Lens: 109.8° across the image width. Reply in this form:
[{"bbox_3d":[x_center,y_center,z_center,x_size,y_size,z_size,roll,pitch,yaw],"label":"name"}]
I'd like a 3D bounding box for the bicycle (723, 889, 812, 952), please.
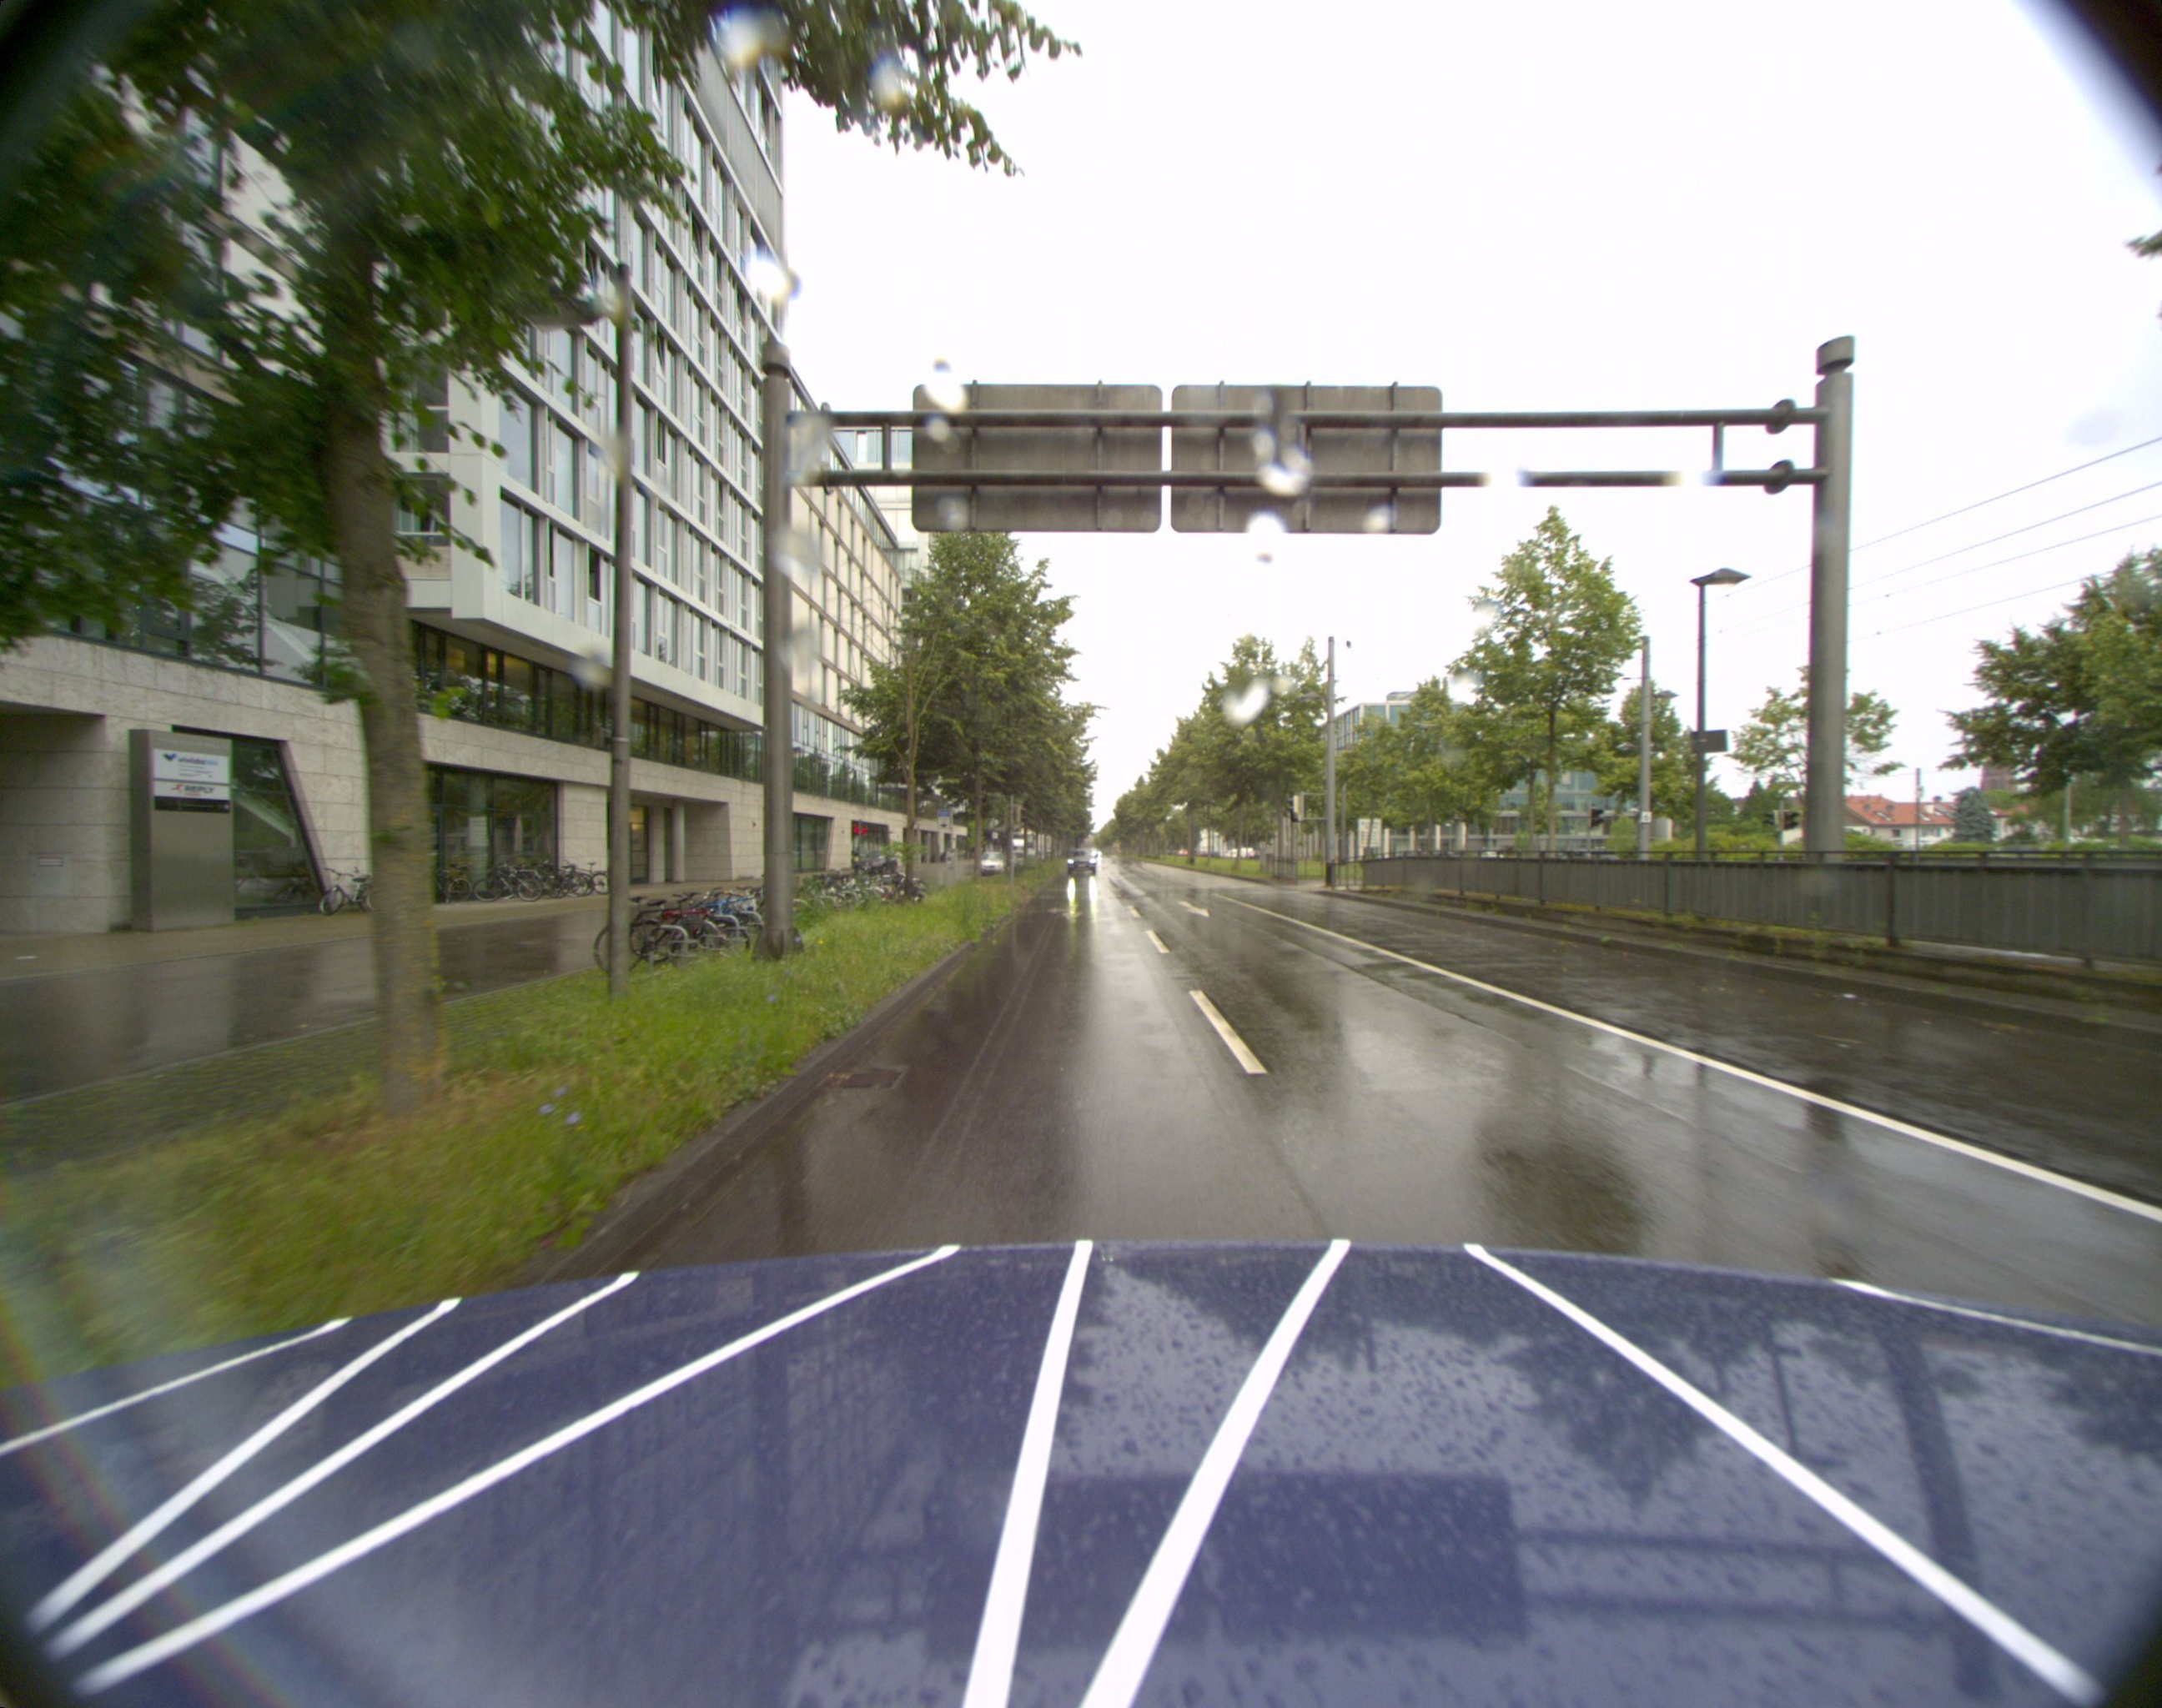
[{"bbox_3d":[-5.034,1.059,12.217,1.292,0.983,0.275,0,1,0],"label":"bicycle"}]

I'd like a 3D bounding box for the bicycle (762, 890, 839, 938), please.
[{"bbox_3d":[-5.115,1.093,13.879,1.292,0.844,0.275,0,1,0],"label":"bicycle"}]

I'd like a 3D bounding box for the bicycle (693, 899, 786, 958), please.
[{"bbox_3d":[-5.186,1.130,11.561,1.292,0.844,0.275,1,1,0],"label":"bicycle"}]

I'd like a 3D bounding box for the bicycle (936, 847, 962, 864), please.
[{"bbox_3d":[-14.337,0.153,82.486,2.685,1.850,0.707,1,1,5],"label":"bicycle"}]

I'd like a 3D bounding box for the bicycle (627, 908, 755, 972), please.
[{"bbox_3d":[-5.401,1.188,10.544,1.599,0.844,0.311,0,1,0],"label":"bicycle"}]

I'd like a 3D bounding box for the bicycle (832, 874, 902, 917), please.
[{"bbox_3d":[-5.511,1.067,19.634,1.711,1.096,0.283,1,1,-6],"label":"bicycle"}]

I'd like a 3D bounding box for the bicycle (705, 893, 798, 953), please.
[{"bbox_3d":[-5.150,1.074,11.890,1.329,0.905,0.275,1,1,0],"label":"bicycle"}]

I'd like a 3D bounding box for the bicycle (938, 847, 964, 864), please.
[{"bbox_3d":[-14.269,0.145,83.231,2.685,1.850,0.707,1,1,5],"label":"bicycle"}]

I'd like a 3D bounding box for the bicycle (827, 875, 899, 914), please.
[{"bbox_3d":[-5.504,1.025,19.256,1.711,0.942,0.313,-1,2,-6],"label":"bicycle"}]

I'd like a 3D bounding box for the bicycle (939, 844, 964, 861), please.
[{"bbox_3d":[-14.310,-0.133,84.027,2.685,1.850,0.707,1,1,5],"label":"bicycle"}]

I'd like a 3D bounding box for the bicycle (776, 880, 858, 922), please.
[{"bbox_3d":[-5.580,0.991,16.104,1.619,0.844,0.275,-1,2,0],"label":"bicycle"}]

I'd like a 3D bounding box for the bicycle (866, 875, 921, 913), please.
[{"bbox_3d":[-5.229,1.118,21.182,1.441,1.012,0.349,0,1,7],"label":"bicycle"}]

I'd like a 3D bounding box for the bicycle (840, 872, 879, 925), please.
[{"bbox_3d":[-3.859,0.760,13.292,0.275,0.844,1.292,1,1,1],"label":"bicycle"}]

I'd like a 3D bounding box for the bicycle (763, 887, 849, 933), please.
[{"bbox_3d":[-5.280,1.071,14.607,1.526,0.844,0.277,0,1,0],"label":"bicycle"}]

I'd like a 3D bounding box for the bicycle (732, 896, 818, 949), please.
[{"bbox_3d":[-5.034,1.119,12.524,1.292,0.844,0.275,0,1,0],"label":"bicycle"}]

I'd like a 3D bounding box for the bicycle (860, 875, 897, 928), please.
[{"bbox_3d":[-3.541,0.810,13.322,0.275,0.844,1.292,1,1,1],"label":"bicycle"}]

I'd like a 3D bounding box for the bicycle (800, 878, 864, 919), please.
[{"bbox_3d":[-5.385,0.962,16.432,1.292,0.844,0.275,1,1,0],"label":"bicycle"}]

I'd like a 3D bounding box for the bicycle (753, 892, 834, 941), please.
[{"bbox_3d":[-5.114,1.103,13.529,1.292,0.844,0.355,0,1,0],"label":"bicycle"}]

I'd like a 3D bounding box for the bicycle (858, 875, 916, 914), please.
[{"bbox_3d":[-5.185,1.079,20.366,1.455,1.012,0.349,0,1,3],"label":"bicycle"}]

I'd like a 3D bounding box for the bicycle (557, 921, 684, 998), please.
[{"bbox_3d":[-5.292,1.210,8.748,1.292,0.844,0.275,0,1,0],"label":"bicycle"}]

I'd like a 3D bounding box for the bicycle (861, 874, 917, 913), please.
[{"bbox_3d":[-5.239,1.076,20.783,1.442,1.012,0.349,0,1,5],"label":"bicycle"}]

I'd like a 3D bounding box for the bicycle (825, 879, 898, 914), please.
[{"bbox_3d":[-5.448,1.064,18.918,1.711,0.844,0.313,0,1,-3],"label":"bicycle"}]

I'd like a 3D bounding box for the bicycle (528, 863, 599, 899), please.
[{"bbox_3d":[-15.607,0.805,22.948,1.811,1.022,0.541,1,1,3],"label":"bicycle"}]

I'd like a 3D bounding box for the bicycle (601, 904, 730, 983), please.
[{"bbox_3d":[-5.341,1.144,9.792,1.464,0.974,0.311,0,1,0],"label":"bicycle"}]

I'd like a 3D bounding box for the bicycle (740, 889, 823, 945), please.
[{"bbox_3d":[-5.057,1.065,12.865,1.292,0.913,0.275,1,1,0],"label":"bicycle"}]

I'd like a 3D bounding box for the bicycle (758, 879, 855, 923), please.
[{"bbox_3d":[-5.416,0.925,15.018,1.821,0.844,0.275,1,1,0],"label":"bicycle"}]

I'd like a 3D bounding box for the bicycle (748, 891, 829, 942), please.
[{"bbox_3d":[-5.070,1.086,13.189,1.292,0.844,0.275,1,1,0],"label":"bicycle"}]

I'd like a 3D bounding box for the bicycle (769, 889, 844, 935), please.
[{"bbox_3d":[-5.144,1.081,14.263,1.292,0.844,0.275,0,1,0],"label":"bicycle"}]

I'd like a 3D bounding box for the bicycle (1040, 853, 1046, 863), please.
[{"bbox_3d":[-3.462,0.364,68.932,0.343,0.817,1.903,1,-2,4],"label":"bicycle"}]

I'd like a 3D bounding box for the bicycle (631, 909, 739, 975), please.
[{"bbox_3d":[-5.272,1.172,10.131,1.292,0.844,0.275,0,1,0],"label":"bicycle"}]

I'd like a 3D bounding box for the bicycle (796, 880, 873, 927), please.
[{"bbox_3d":[-5.549,1.110,17.116,1.619,1.016,0.275,-1,2,0],"label":"bicycle"}]

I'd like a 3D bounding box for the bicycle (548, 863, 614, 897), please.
[{"bbox_3d":[-15.562,0.801,23.667,1.811,1.022,0.401,1,1,3],"label":"bicycle"}]

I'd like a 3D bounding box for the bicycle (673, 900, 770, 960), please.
[{"bbox_3d":[-5.285,1.114,11.183,1.292,0.844,0.275,0,1,0],"label":"bicycle"}]

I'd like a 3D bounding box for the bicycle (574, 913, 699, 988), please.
[{"bbox_3d":[-5.289,1.145,9.060,1.292,0.844,0.311,0,1,0],"label":"bicycle"}]

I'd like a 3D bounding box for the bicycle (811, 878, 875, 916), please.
[{"bbox_3d":[-5.593,1.008,17.878,1.409,0.844,0.275,1,1,-2],"label":"bicycle"}]

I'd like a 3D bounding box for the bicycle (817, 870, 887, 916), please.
[{"bbox_3d":[-5.584,0.949,18.536,1.617,1.090,0.296,1,1,-2],"label":"bicycle"}]

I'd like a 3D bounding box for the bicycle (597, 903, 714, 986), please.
[{"bbox_3d":[-5.286,1.119,9.456,1.292,0.990,0.275,1,1,0],"label":"bicycle"}]
